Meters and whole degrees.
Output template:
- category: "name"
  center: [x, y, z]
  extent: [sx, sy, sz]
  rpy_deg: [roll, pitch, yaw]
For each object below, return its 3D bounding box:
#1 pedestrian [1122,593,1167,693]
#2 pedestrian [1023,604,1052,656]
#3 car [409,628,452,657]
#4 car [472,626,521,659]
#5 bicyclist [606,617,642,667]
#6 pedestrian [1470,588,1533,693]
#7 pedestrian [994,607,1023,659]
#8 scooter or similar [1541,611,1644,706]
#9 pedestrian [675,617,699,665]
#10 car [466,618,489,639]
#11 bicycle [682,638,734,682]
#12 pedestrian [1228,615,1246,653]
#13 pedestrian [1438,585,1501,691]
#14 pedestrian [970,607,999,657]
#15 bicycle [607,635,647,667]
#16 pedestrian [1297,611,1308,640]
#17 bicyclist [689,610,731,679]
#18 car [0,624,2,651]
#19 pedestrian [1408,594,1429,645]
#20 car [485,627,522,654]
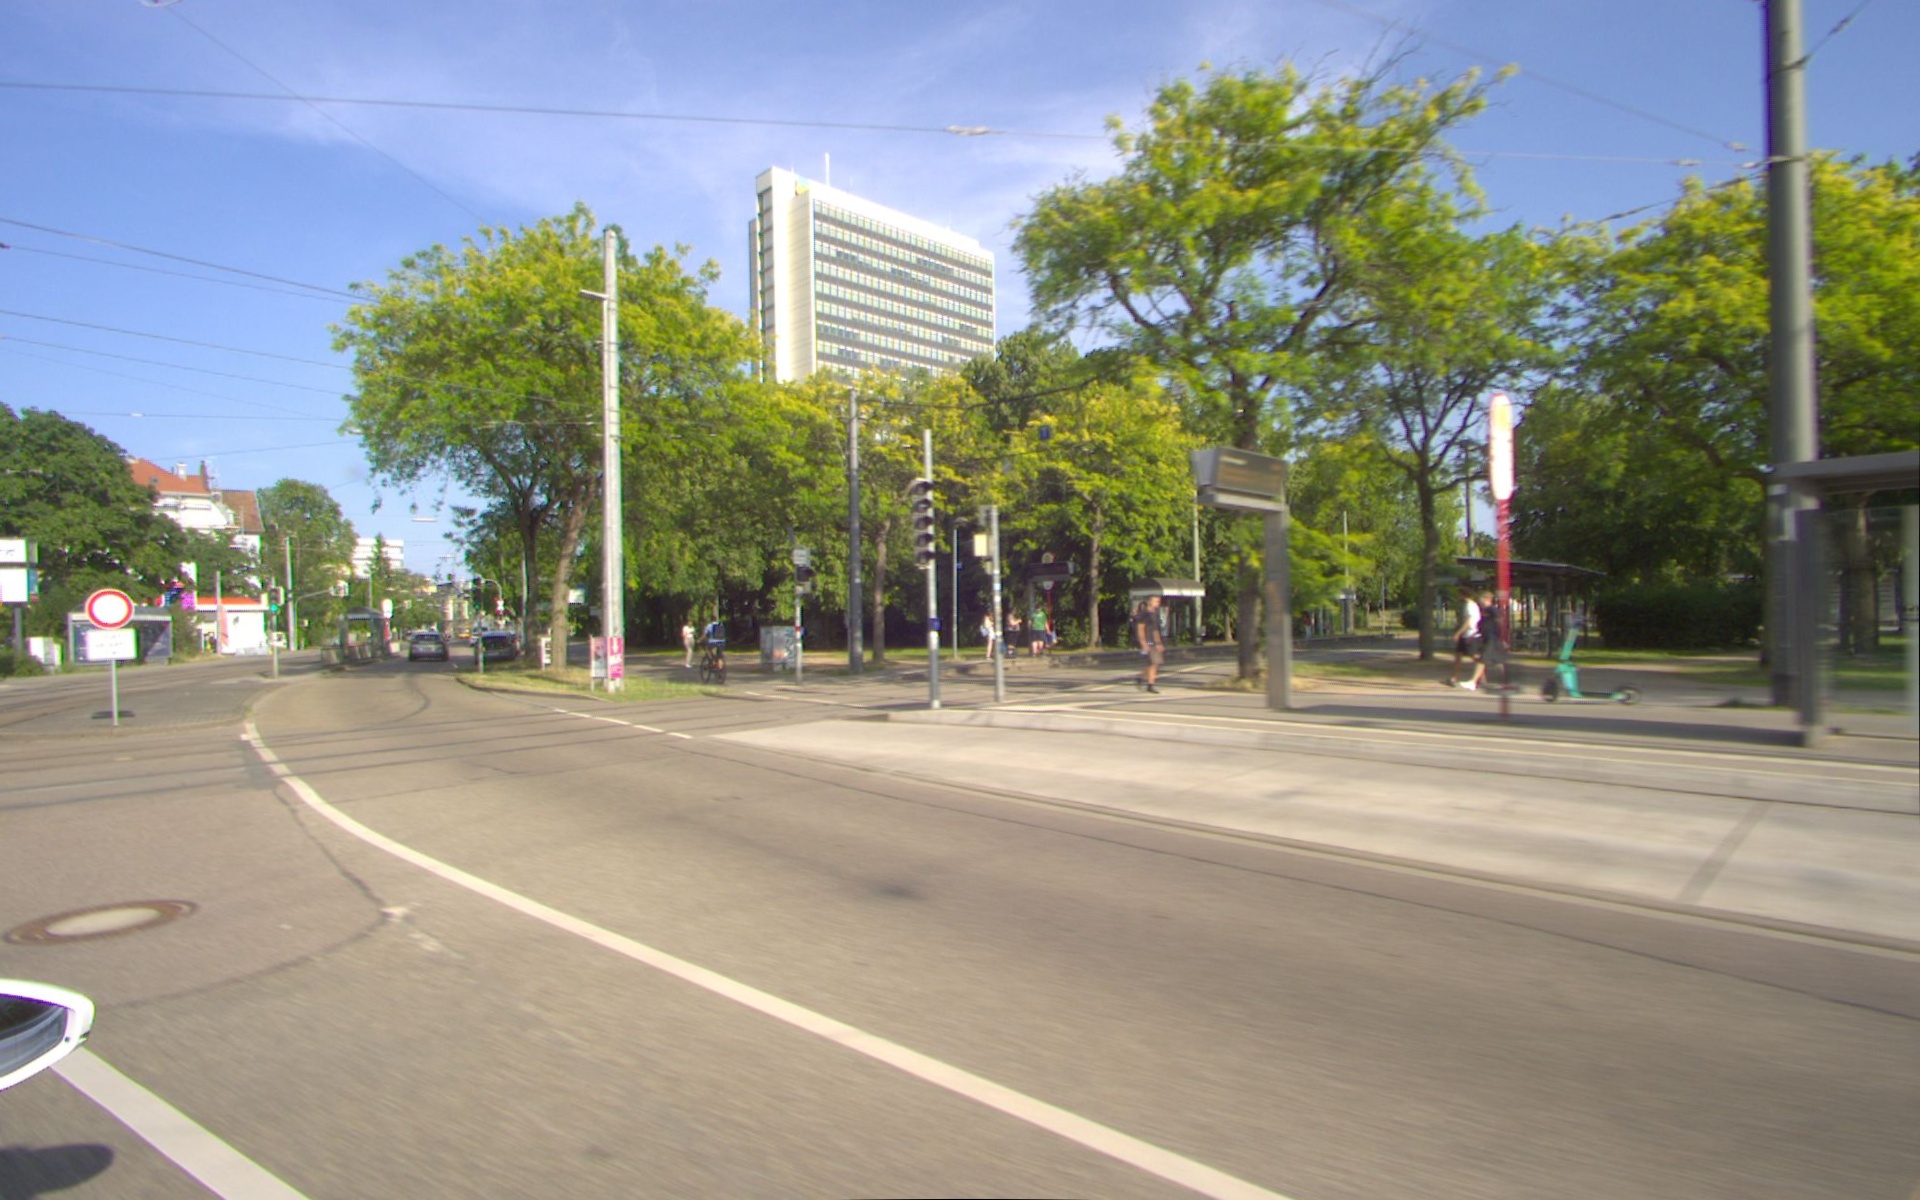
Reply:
- category: "pedestrian"
  center: [3.384, 0.792, 18.385]
  extent: [0.573, 1.799, 0.582]
  rpy_deg: [2, -3, -42]
- category: "pedestrian"
  center: [2.556, 0.983, 32.888]
  extent: [0.682, 1.687, 0.638]
  rpy_deg: [-1, -1, 40]
- category: "car"
  center: [-30.149, 2.432, 57.095]
  extent: [1.812, 1.620, 3.804]
  rpy_deg: [1, -3, -24]
- category: "car"
  center: [-23.173, 2.094, 50.155]
  extent: [1.828, 1.535, 3.991]
  rpy_deg: [-2, 0, -20]
- category: "bicyclist"
  center: [-12.395, 1.540, 36.928]
  extent: [1.128, 1.769, 0.715]
  rpy_deg: [-2, 2, 44]
- category: "pedestrian"
  center: [9.495, 0.717, 17.590]
  extent: [0.865, 1.799, 0.672]
  rpy_deg: [0, -2, 20]
- category: "pedestrian"
  center: [1.606, 1.084, 33.137]
  extent: [0.682, 1.687, 0.638]
  rpy_deg: [-1, -1, 40]
- category: "scooter or similar"
  center: [8.499, 0.780, 13.483]
  extent: [1.117, 1.248, 0.351]
  rpy_deg: [-1, 0, 26]
- category: "pedestrian"
  center: [-9.861, 1.482, 36.194]
  extent: [0.634, 1.687, 0.686]
  rpy_deg: [-1, -1, -34]
- category: "car"
  center: [-51.610, 3.094, 107.108]
  extent: [1.968, 2.038, 3.990]
  rpy_deg: [1, -4, -24]
- category: "bicycle"
  center: [-6.854, 1.616, 27.183]
  extent: [0.634, 1.102, 1.926]
  rpy_deg: [-3, 1, -37]
- category: "pedestrian"
  center: [13.687, 1.685, 49.483]
  extent: [0.665, 1.822, 0.606]
  rpy_deg: [2, -3, -36]
- category: "pedestrian"
  center: [9.463, 0.705, 18.625]
  extent: [0.863, 1.921, 0.673]
  rpy_deg: [0, -2, 13]
- category: "pedestrian"
  center: [0.815, 1.067, 33.455]
  extent: [0.682, 1.631, 0.638]
  rpy_deg: [-1, -1, 40]
- category: "bicycle"
  center: [-12.238, 1.863, 36.797]
  extent: [1.716, 1.102, 0.636]
  rpy_deg: [-2, 1, 44]
- category: "pedestrian"
  center: [19.450, 1.448, 56.898]
  extent: [0.479, 1.687, 0.412]
  rpy_deg: [-1, 0, 38]
- category: "bicyclist"
  center: [-6.735, 1.187, 26.966]
  extent: [0.642, 1.769, 1.132]
  rpy_deg: [-4, 2, -36]
- category: "car"
  center: [-68.487, 2.648, 70.283]
  extent: [1.734, 1.898, 3.963]
  rpy_deg: [0, -2, -43]
- category: "pedestrian"
  center: [17.303, 0.734, 37.789]
  extent: [0.599, 1.890, 0.458]
  rpy_deg: [-2, -3, 43]
- category: "car"
  center: [-28.892, 2.526, 63.402]
  extent: [1.828, 1.535, 3.990]
  rpy_deg: [-2, 0, -21]
